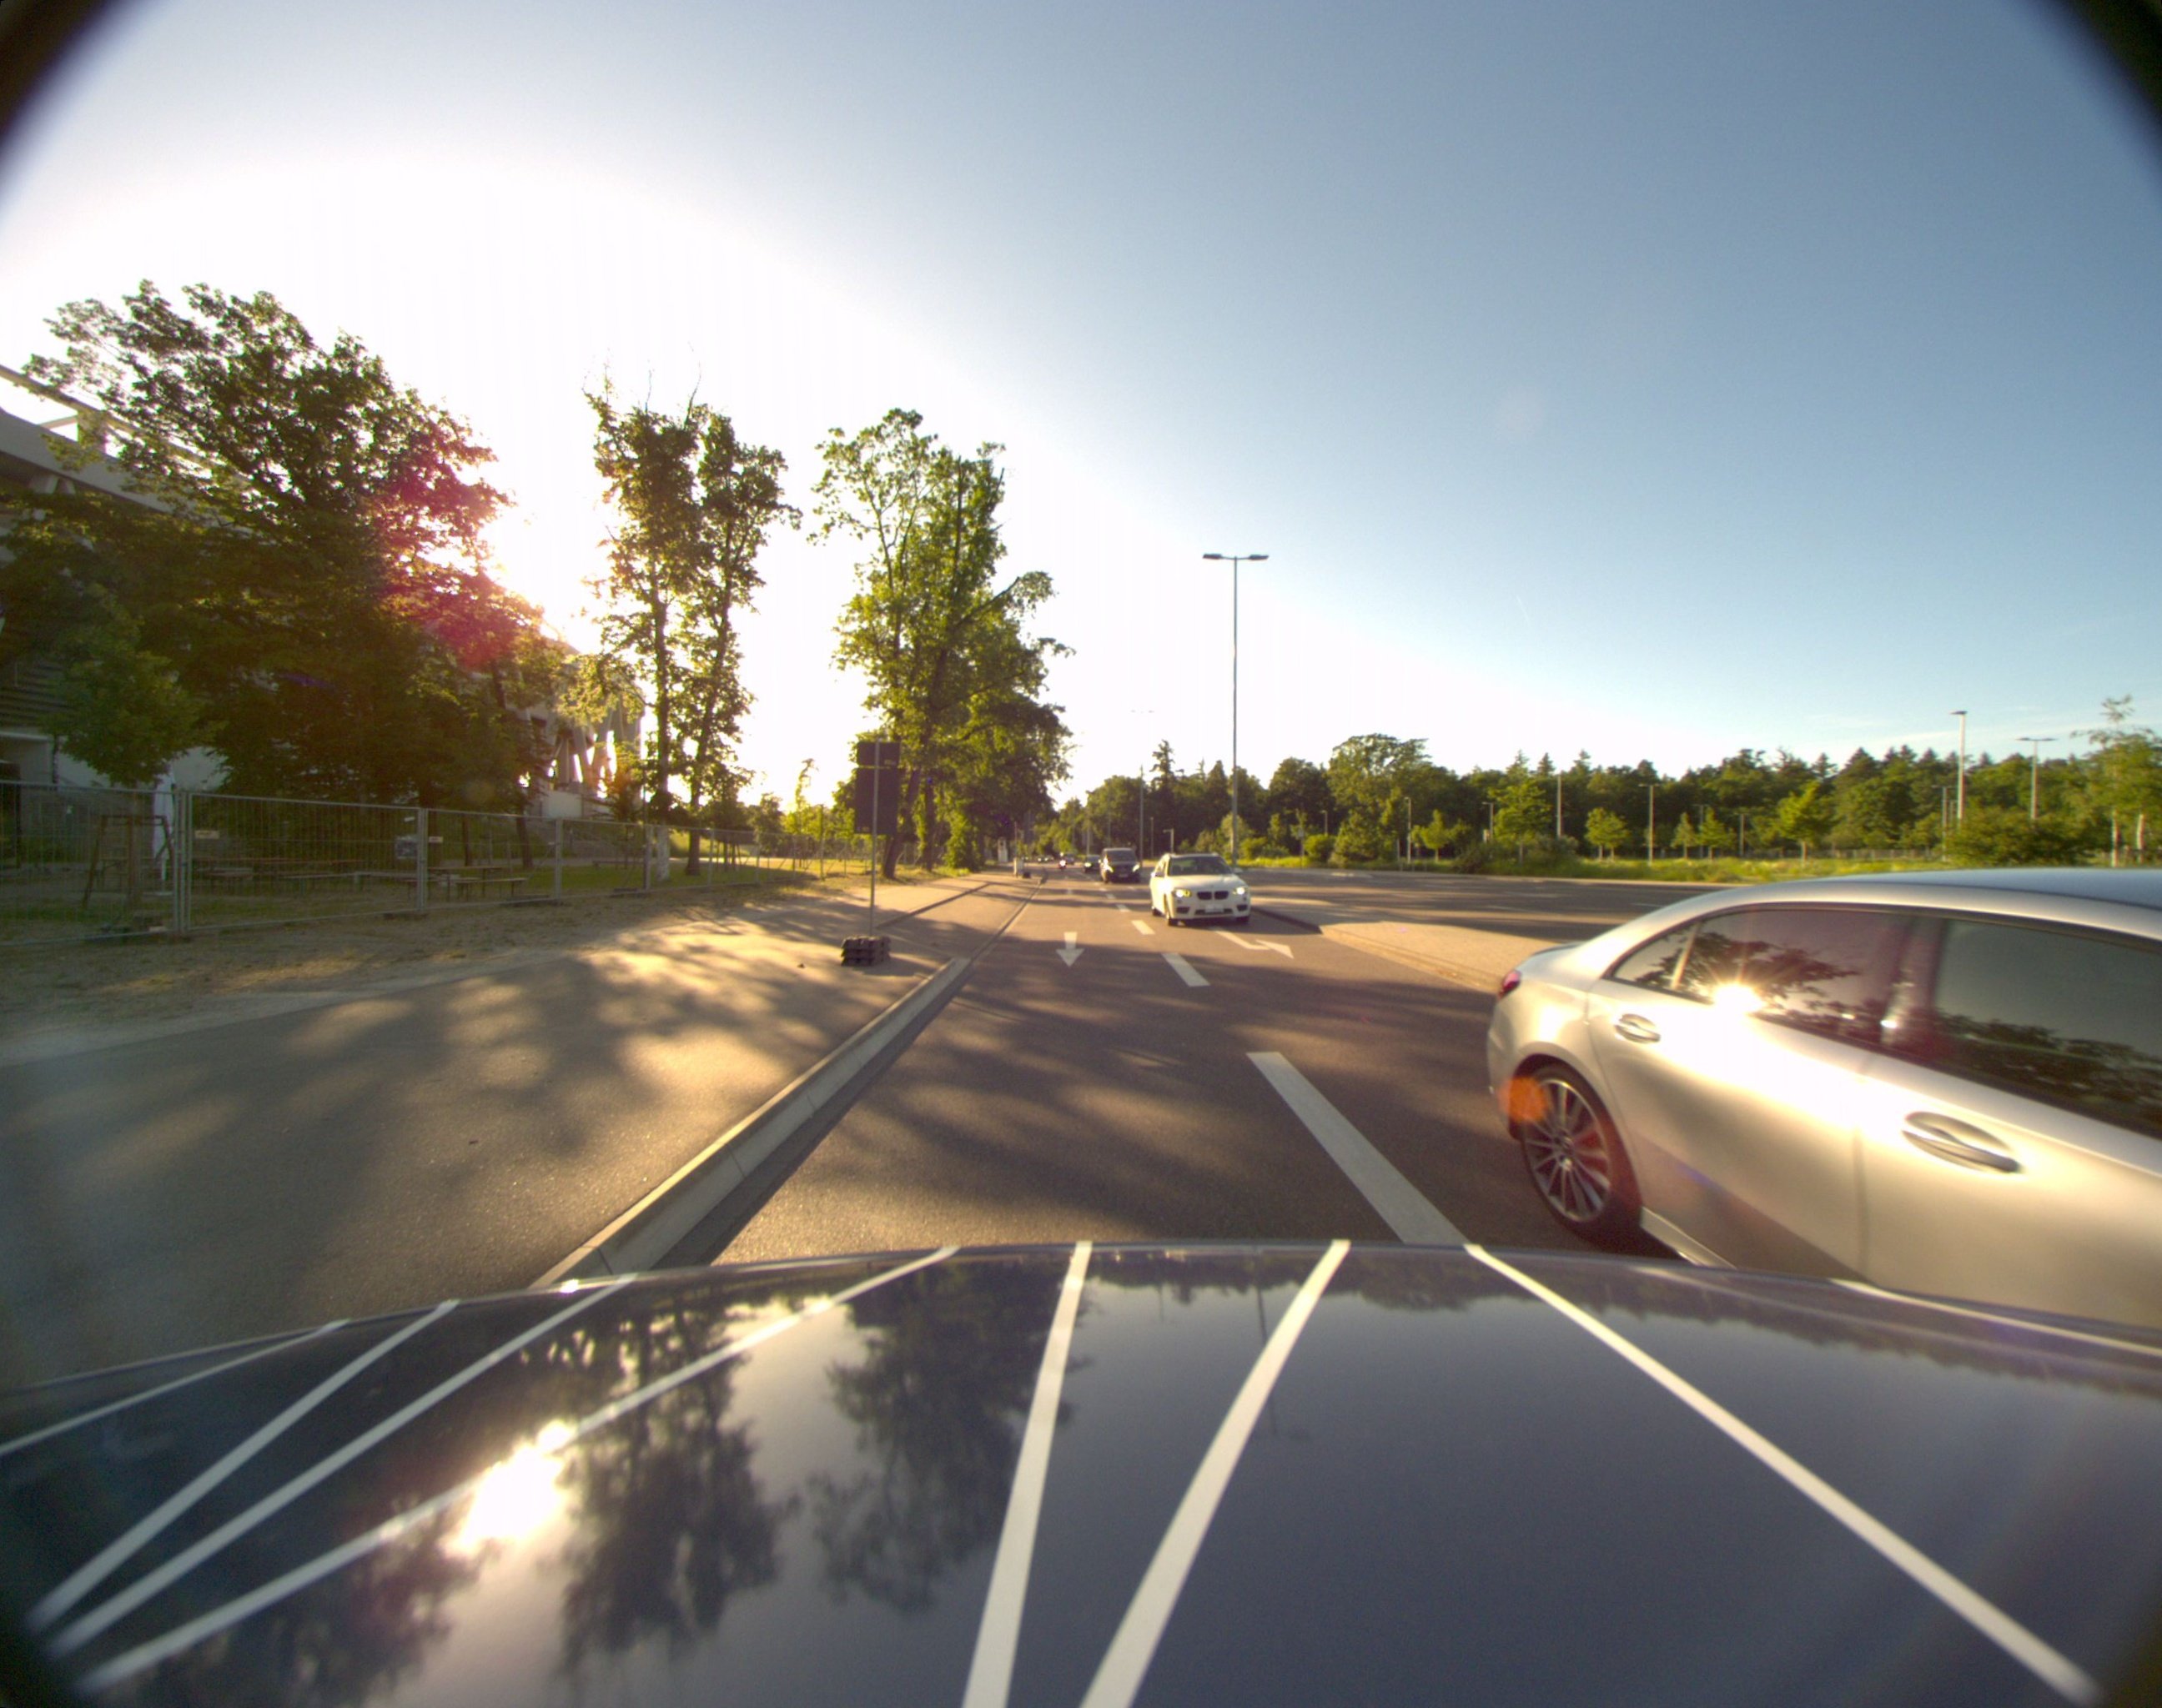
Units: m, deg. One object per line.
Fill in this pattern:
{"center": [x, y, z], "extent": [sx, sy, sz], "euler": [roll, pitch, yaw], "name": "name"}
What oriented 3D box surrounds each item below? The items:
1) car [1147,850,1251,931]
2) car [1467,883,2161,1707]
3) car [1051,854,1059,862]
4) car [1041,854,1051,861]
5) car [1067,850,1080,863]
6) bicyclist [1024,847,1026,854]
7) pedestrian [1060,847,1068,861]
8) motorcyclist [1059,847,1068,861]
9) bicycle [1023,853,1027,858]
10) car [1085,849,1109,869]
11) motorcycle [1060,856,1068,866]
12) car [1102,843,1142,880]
{"center": [2.583, 0.776, 17.601], "extent": [1.723, 1.571, 4.435], "euler": [-2, -1, 1], "name": "car"}
{"center": [2.699, 0.869, 1.346], "extent": [1.790, 1.436, 4.278], "euler": [-2, 0, 0], "name": "car"}
{"center": [-6.767, 1.078, 196.431], "extent": [1.675, 1.827, 3.982], "euler": [-2, 1, 1], "name": "car"}
{"center": [-7.780, 0.767, 167.545], "extent": [1.883, 1.629, 5.048], "euler": [-2, 0, 0], "name": "car"}
{"center": [-1.144, 0.371, 117.208], "extent": [1.883, 1.951, 5.048], "euler": [-2, 0, 0], "name": "car"}
{"center": [-10.941, -0.735, 148.653], "extent": [0.451, 1.412, 0.575], "euler": [0, 1, 0], "name": "bicyclist"}
{"center": [-1.776, -0.029, 79.054], "extent": [0.739, 1.387, 0.500], "euler": [-2, 1, 1], "name": "pedestrian"}
{"center": [-1.788, -0.011, 78.545], "extent": [0.822, 1.367, 0.476], "euler": [-2, 1, 1], "name": "motorcyclist"}
{"center": [-10.948, 0.333, 148.722], "extent": [0.481, 0.854, 1.910], "euler": [0, 0, 1], "name": "bicycle"}
{"center": [1.363, 0.397, 64.951], "extent": [1.883, 1.528, 3.999], "euler": [-2, 1, 0], "name": "car"}
{"center": [-1.745, 0.723, 78.919], "extent": [0.717, 1.058, 2.721], "euler": [-2, 0, 1], "name": "motorcycle"}
{"center": [2.200, 0.494, 41.903], "extent": [1.912, 1.844, 4.875], "euler": [-2, -2, 1], "name": "car"}
